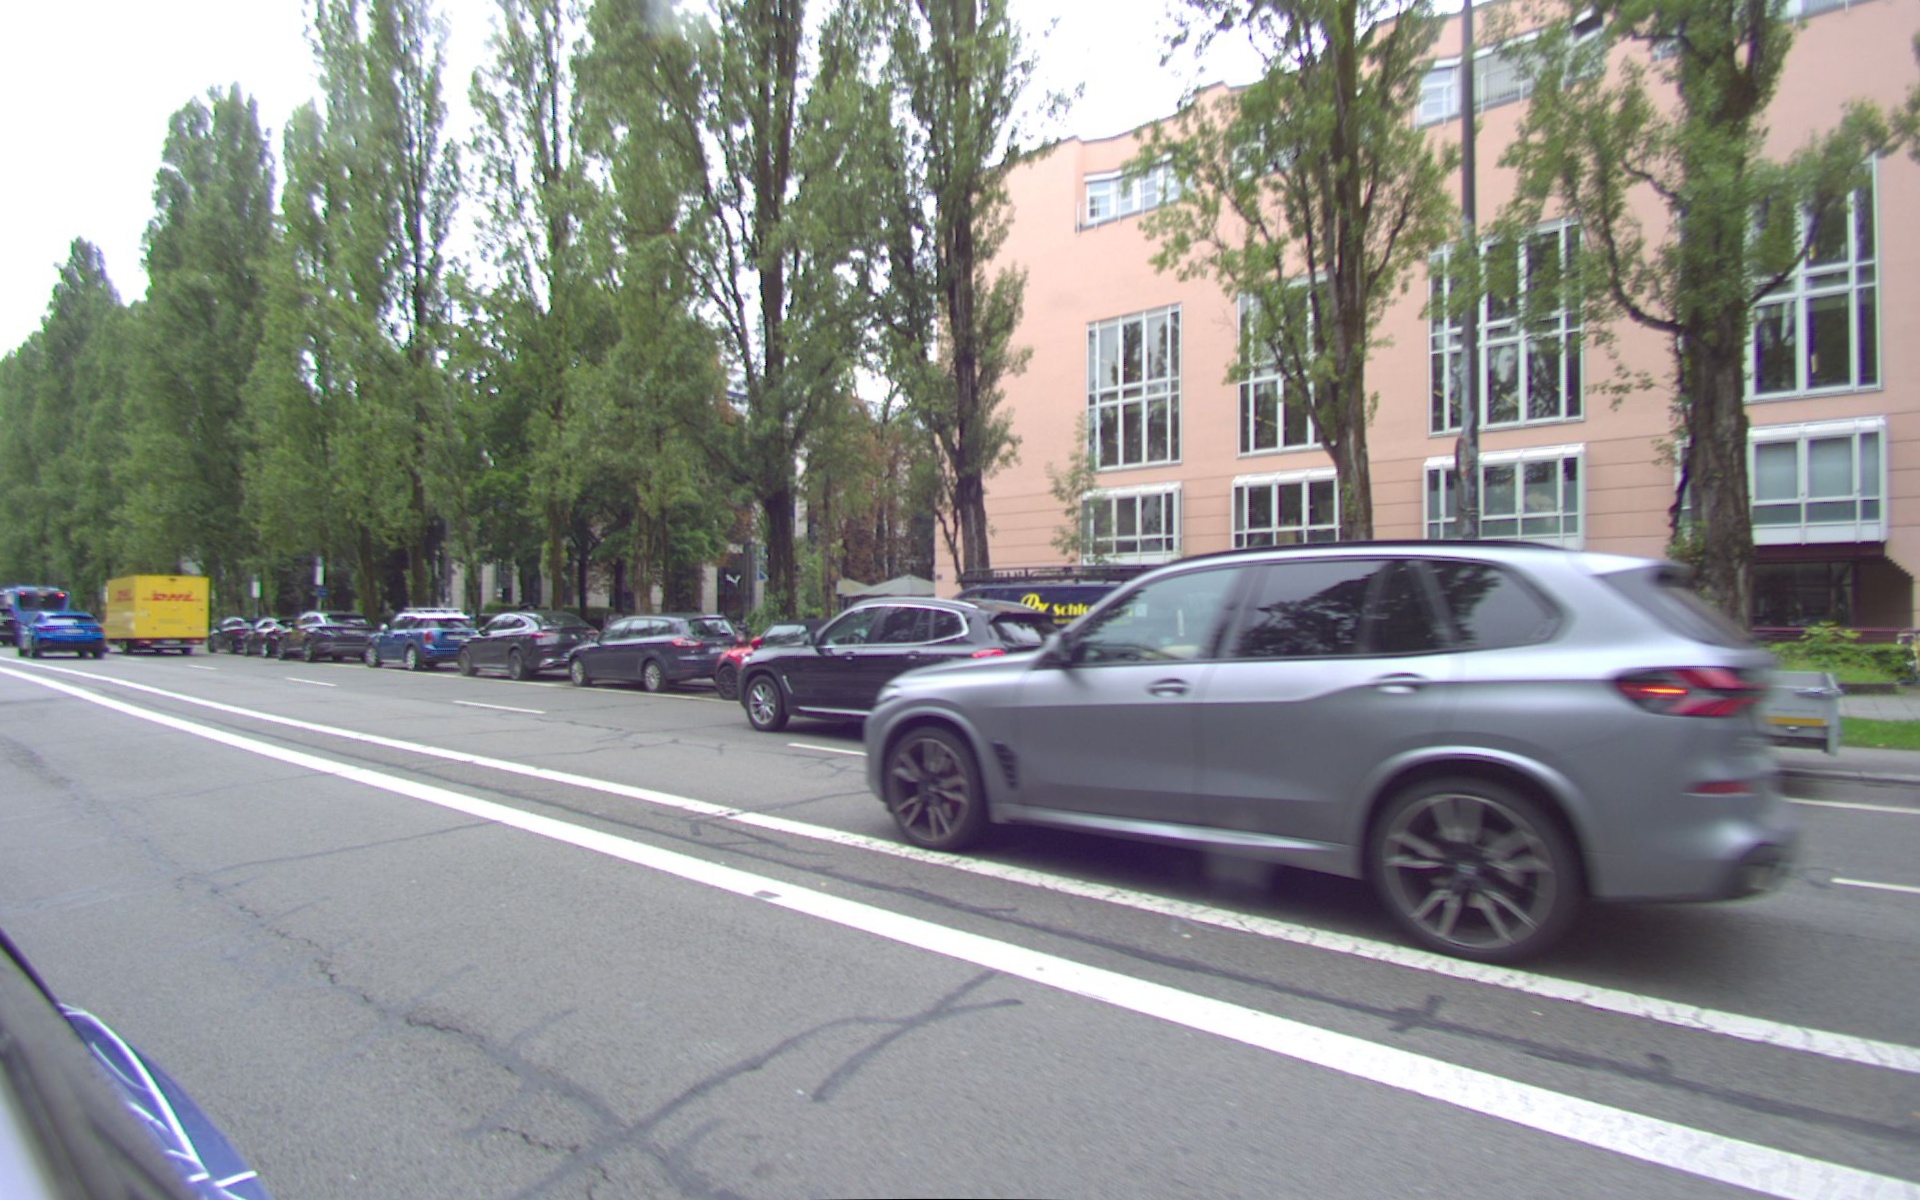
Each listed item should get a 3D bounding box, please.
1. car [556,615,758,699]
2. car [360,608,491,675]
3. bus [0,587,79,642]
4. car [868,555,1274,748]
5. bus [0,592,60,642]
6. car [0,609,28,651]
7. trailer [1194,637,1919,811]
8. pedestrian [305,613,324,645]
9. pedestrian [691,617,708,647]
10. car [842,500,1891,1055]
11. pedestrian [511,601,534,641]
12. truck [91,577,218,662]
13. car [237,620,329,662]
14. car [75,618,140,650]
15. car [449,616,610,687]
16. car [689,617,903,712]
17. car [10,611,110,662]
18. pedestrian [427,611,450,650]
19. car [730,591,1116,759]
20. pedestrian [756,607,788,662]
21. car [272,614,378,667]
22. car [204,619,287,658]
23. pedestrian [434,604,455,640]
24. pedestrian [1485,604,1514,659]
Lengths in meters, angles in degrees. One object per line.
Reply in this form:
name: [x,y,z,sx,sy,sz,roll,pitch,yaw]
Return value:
car: [-6.297,1.089,20.741,4.621,1.540,1.769,-1,-1,41]
car: [-14.930,1.131,28.181,4.074,1.745,1.770,-1,-3,39]
bus: [-55.350,0.932,60.686,8.517,3.075,2.886,-2,-2,43]
car: [1.342,0.643,14.154,5.494,2.214,1.996,-1,-1,41]
bus: [-61.712,1.155,66.488,9.794,3.075,2.886,-2,-2,42]
car: [-43.469,1.306,45.110,5.058,1.762,1.974,-1,-5,39]
trailer: [5.698,1.024,10.387,6.035,1.208,2.372,-1,-1,41]
pedestrian: [-35.586,1.593,55.805,0.731,1.726,0.699,-1,-2,41]
pedestrian: [-15.457,1.902,60.090,0.708,1.726,0.722,-1,-1,38]
car: [1.719,0.610,5.476,4.756,1.729,1.973,-1,-2,40]
pedestrian: [-19.136,0.934,44.283,0.731,1.726,0.699,-1,-2,41]
truck: [-30.581,0.744,38.313,7.077,2.930,2.565,-1,-1,42]
car: [-24.089,1.428,35.978,3.879,1.423,1.769,-1,-1,41]
car: [-40.502,1.583,48.073,3.879,1.423,1.769,-1,-1,41]
car: [-10.444,1.179,24.408,4.512,1.540,1.769,-1,-1,41]
car: [-2.914,1.038,17.513,3.874,1.460,1.654,-1,-1,43]
car: [-30.025,1.199,33.726,4.419,1.591,1.846,-1,-3,41]
pedestrian: [-23.488,1.379,45.606,0.731,1.726,0.699,-1,-2,41]
car: [-0.588,0.812,12.222,4.548,1.655,1.973,-2,-3,41]
pedestrian: [-5.970,1.086,32.118,0.731,1.726,0.699,-1,-2,41]
car: [-20.642,1.275,32.843,4.234,1.613,1.769,-1,-1,41]
car: [-28.035,1.477,39.662,3.879,1.423,1.769,-1,-1,41]
pedestrian: [-25.503,1.090,50.027,0.731,1.726,0.699,-1,-2,41]
pedestrian: [16.900,0.983,31.710,0.648,1.704,0.666,-1,-2,43]
